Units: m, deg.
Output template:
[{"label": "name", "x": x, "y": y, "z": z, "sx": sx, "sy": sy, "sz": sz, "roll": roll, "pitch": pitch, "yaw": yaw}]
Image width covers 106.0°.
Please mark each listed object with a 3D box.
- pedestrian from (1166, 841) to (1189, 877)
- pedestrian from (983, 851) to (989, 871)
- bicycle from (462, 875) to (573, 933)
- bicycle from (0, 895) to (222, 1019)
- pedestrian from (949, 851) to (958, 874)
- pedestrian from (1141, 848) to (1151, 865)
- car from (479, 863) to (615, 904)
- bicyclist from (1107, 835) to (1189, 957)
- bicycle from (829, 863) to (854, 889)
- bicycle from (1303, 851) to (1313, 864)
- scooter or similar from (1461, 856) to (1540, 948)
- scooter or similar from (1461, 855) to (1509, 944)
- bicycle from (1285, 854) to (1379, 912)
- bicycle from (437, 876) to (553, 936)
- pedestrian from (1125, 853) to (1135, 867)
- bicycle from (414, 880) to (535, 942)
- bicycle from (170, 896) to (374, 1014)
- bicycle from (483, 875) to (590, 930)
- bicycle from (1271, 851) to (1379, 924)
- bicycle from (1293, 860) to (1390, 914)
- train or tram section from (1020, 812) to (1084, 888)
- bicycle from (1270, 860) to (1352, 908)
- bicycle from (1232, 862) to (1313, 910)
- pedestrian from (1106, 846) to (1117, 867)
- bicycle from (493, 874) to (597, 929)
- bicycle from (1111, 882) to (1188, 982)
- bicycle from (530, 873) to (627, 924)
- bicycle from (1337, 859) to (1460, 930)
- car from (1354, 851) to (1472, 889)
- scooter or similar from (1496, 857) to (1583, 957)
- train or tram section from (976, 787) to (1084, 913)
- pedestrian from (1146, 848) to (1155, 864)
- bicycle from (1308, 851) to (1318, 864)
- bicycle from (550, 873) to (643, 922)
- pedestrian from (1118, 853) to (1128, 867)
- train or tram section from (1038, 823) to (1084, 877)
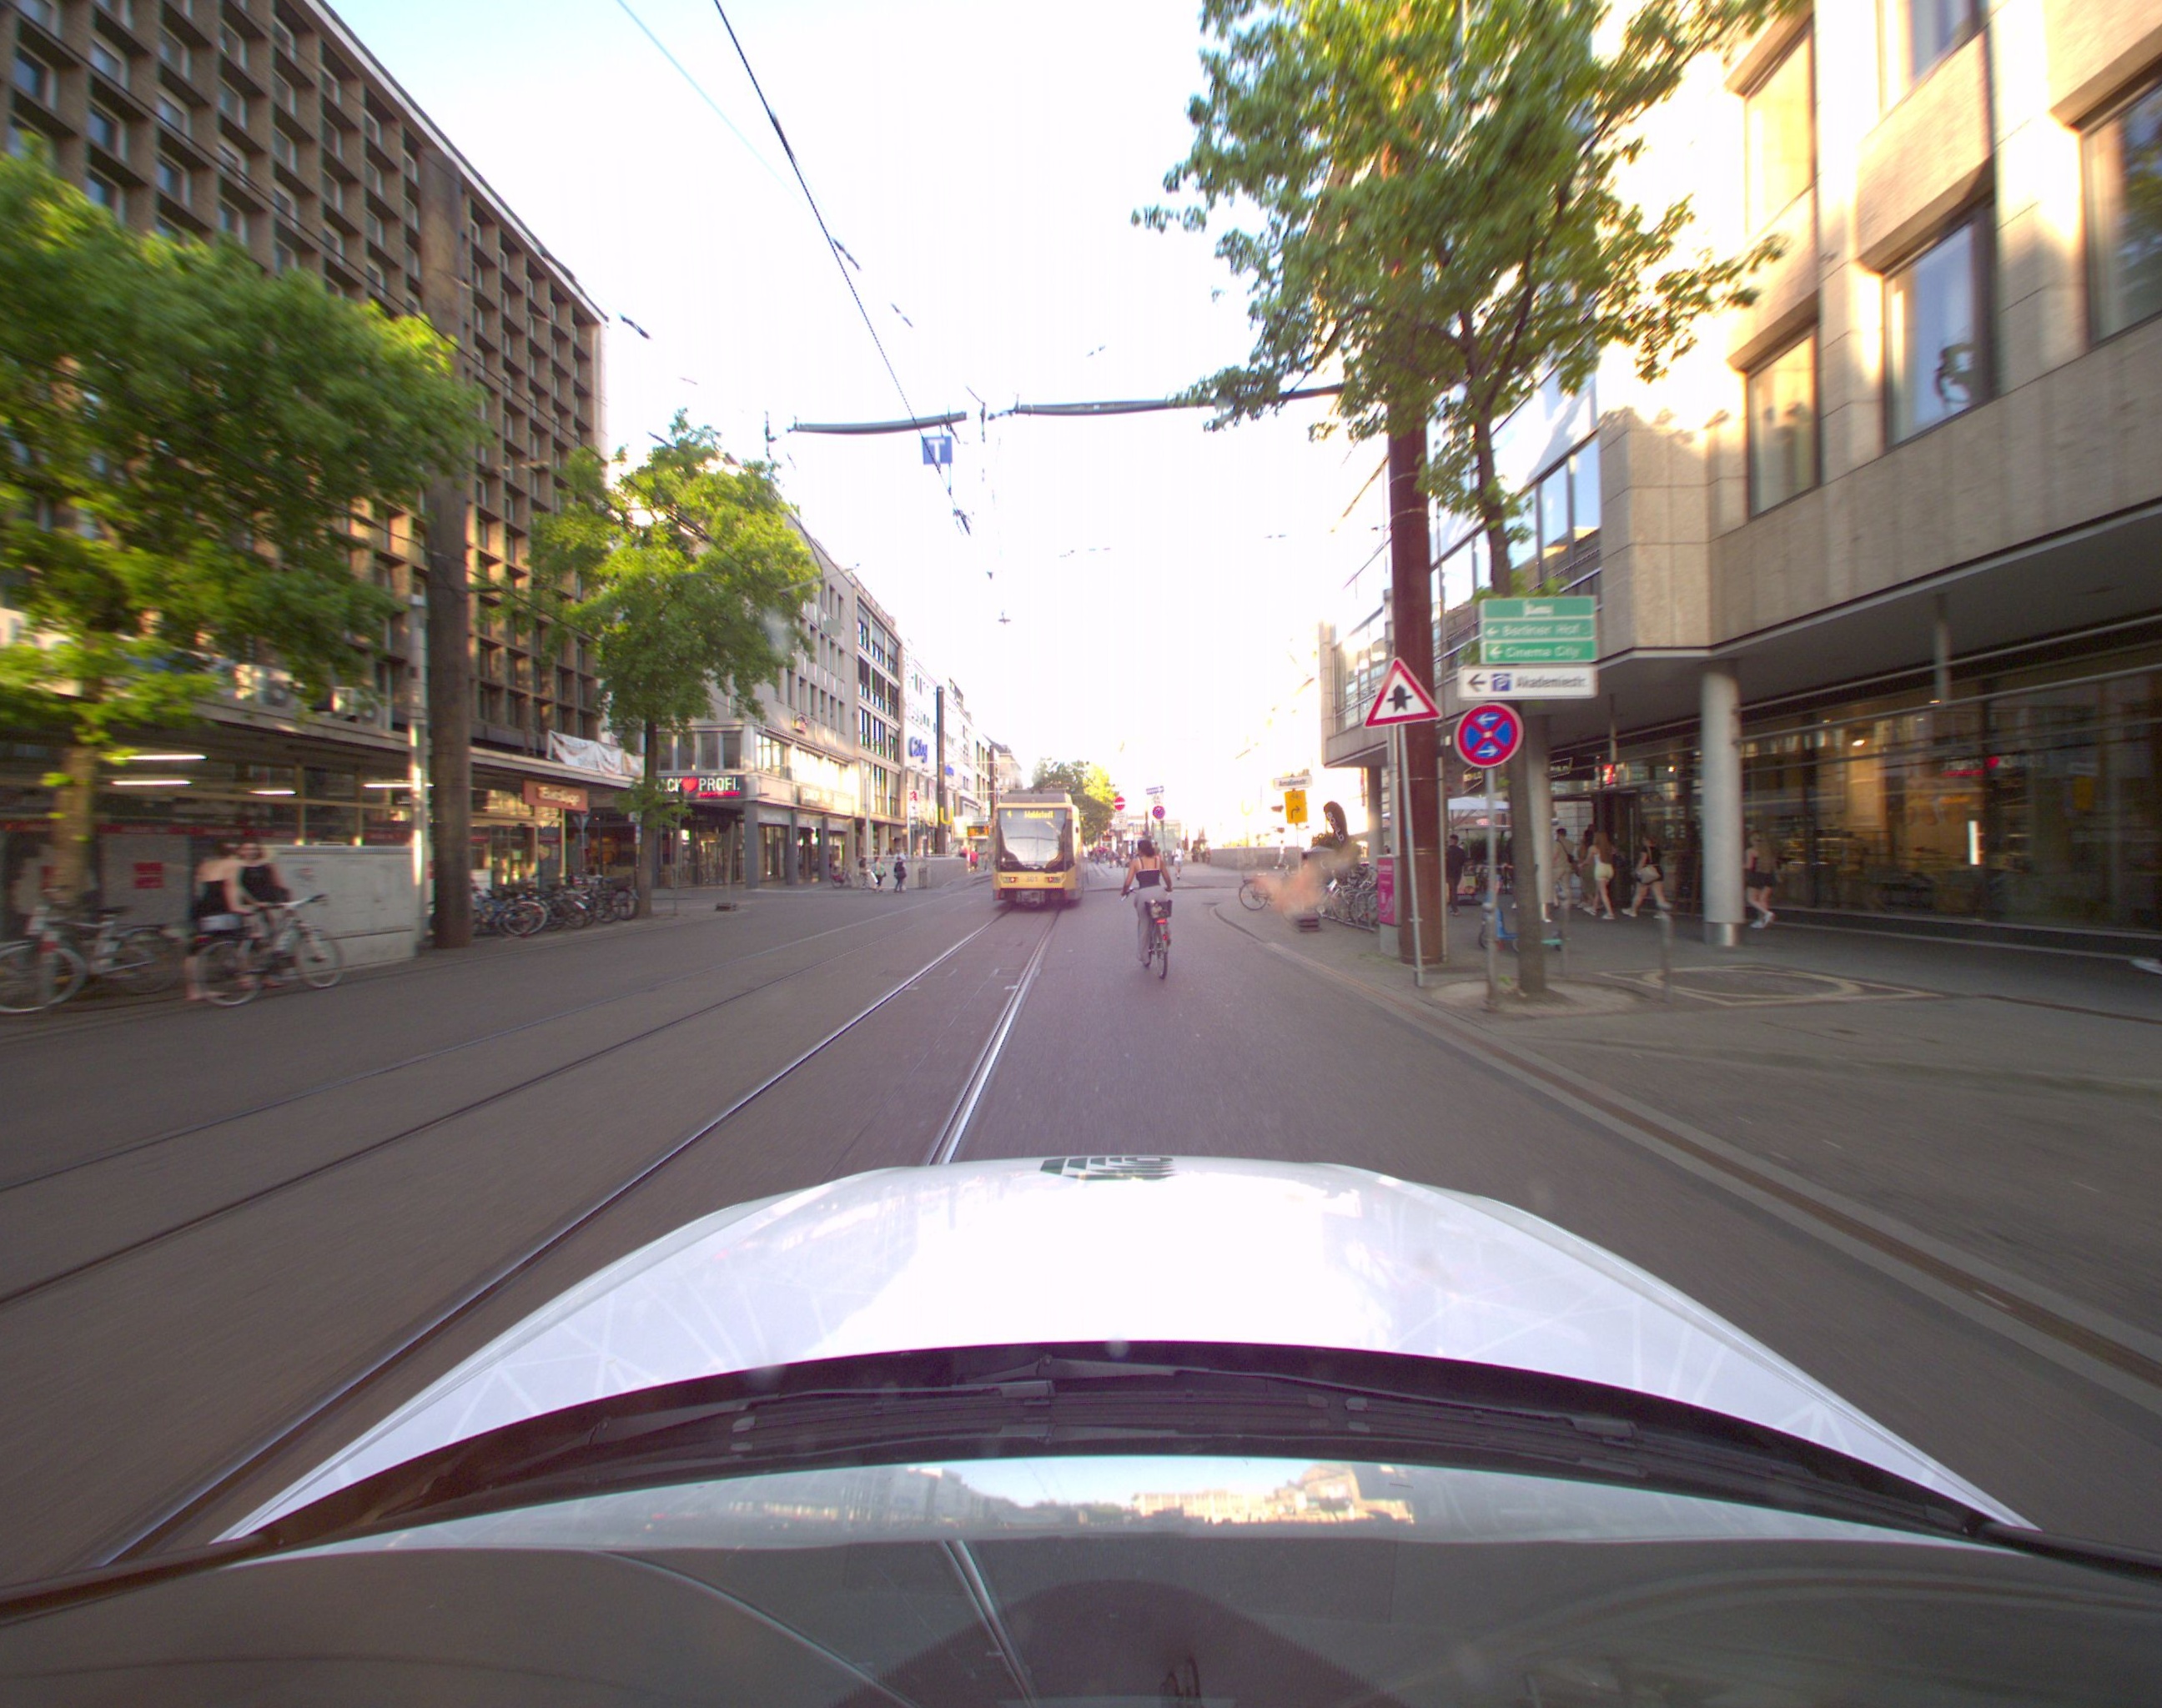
[{"label": "pedestrian", "x": 4.951, "y": 0.258, "z": 41.839, "sx": 1.012, "sy": 1.863, "sz": 1.041, "roll": 0, "pitch": -1, "yaw": -4}, {"label": "pedestrian", "x": -7.691, "y": 0.572, "z": 65.904, "sx": 0.511, "sy": 1.617, "sz": 0.504, "roll": -1, "pitch": -1, "yaw": -9}, {"label": "bicycle", "x": -10.750, "y": 0.946, "z": 15.551, "sx": 1.766, "sy": 1.045, "sz": 0.489, "roll": 1, "pitch": 0, "yaw": 0}, {"label": "bicycle", "x": -10.061, "y": 1.001, "z": 8.432, "sx": 0.486, "sy": 1.045, "sz": 1.776, "roll": 0, "pitch": 1, "yaw": -2}, {"label": "pedestrian", "x": -8.802, "y": 0.583, "z": 56.278, "sx": 0.603, "sy": 1.588, "sz": 0.626, "roll": -1, "pitch": -1, "yaw": -9}, {"label": "pedestrian", "x": 6.510, "y": 0.225, "z": 81.603, "sx": 0.787, "sy": 1.661, "sz": 0.772, "roll": -1, "pitch": 0, "yaw": 12}, {"label": "car", "x": -21.143, "y": 1.151, "z": 32.370, "sx": 4.110, "sy": 1.510, "sz": 1.798, "roll": -1, "pitch": -1, "yaw": -3}, {"label": "bicyclist", "x": 0.843, "y": 0.523, "z": 10.543, "sx": 0.993, "sy": 1.502, "sz": 0.857, "roll": 0, "pitch": 0, "yaw": 0}, {"label": "bicycle", "x": -11.518, "y": 1.045, "z": 39.186, "sx": 0.496, "sy": 1.107, "sz": 1.803, "roll": -1, "pitch": 1, "yaw": 6}, {"label": "bicycle", "x": 14.737, "y": 0.225, "z": 52.878, "sx": 0.314, "sy": 0.867, "sz": 1.000, "roll": -2, "pitch": 0, "yaw": -1}, {"label": "scooter or similar", "x": 6.126, "y": 0.675, "z": 11.879, "sx": 1.194, "sy": 1.251, "sz": 0.389, "roll": -2, "pitch": 1, "yaw": -29}, {"label": "scooter or similar", "x": 6.198, "y": 0.668, "z": 12.468, "sx": 0.388, "sy": 1.251, "sz": 1.199, "roll": -2, "pitch": 1, "yaw": 39}, {"label": "bicycle", "x": 5.893, "y": 0.661, "z": 19.180, "sx": 1.911, "sy": 1.222, "sz": 0.762, "roll": -3, "pitch": 0, "yaw": -5}, {"label": "bicycle", "x": -10.758, "y": 0.943, "z": 14.980, "sx": 1.766, "sy": 1.045, "sz": 0.489, "roll": 1, "pitch": 0, "yaw": 0}, {"label": "pedestrian", "x": 4.427, "y": 0.508, "z": 73.356, "sx": 0.790, "sy": 1.221, "sz": 0.768, "roll": -1, "pitch": 0, "yaw": -3}, {"label": "bicycle", "x": -10.769, "y": 1.004, "z": 14.489, "sx": 1.766, "sy": 1.045, "sz": 0.489, "roll": 1, "pitch": 0, "yaw": 0}, {"label": "bicycle", "x": -8.702, "y": 1.033, "z": 8.876, "sx": 0.486, "sy": 1.045, "sz": 1.776, "roll": 0, "pitch": 1, "yaw": -2}, {"label": "bicycle", "x": -10.766, "y": 0.948, "z": 16.130, "sx": 1.766, "sy": 1.045, "sz": 0.489, "roll": 1, "pitch": 0, "yaw": 0}, {"label": "bicycle", "x": 4.910, "y": 0.660, "z": 16.441, "sx": 1.911, "sy": 1.333, "sz": 0.724, "roll": -3, "pitch": 0, "yaw": -5}, {"label": "bicycle", "x": 5.882, "y": 0.734, "z": 18.433, "sx": 1.911, "sy": 1.077, "sz": 0.762, "roll": -3, "pitch": 0, "yaw": -5}, {"label": "train or tram section", "x": -1.267, "y": -0.202, "z": 43.477, "sx": 2.791, "sy": 3.319, "sz": 14.507, "roll": -1, "pitch": 0, "yaw": 0}, {"label": "bicycle", "x": 5.841, "y": 0.759, "z": 20.723, "sx": 1.848, "sy": 1.109, "sz": 0.666, "roll": -3, "pitch": 0, "yaw": -3}, {"label": "bicycle", "x": 4.825, "y": 0.801, "z": 20.580, "sx": 1.848, "sy": 1.109, "sz": 0.666, "roll": -3, "pitch": 0, "yaw": -3}, {"label": "pedestrian", "x": 2.671, "y": 0.212, "z": 70.444, "sx": 0.734, "sy": 1.823, "sz": 0.816, "roll": -1, "pitch": 0, "yaw": -14}, {"label": "bicycle", "x": -10.760, "y": 0.949, "z": 16.372, "sx": 1.766, "sy": 1.045, "sz": 0.489, "roll": 1, "pitch": 0, "yaw": 0}, {"label": "bicycle", "x": 0.837, "y": 0.949, "z": 10.551, "sx": 0.812, "sy": 1.073, "sz": 2.113, "roll": 0, "pitch": 0, "yaw": 0}, {"label": "bicycle", "x": -10.748, "y": 0.954, "z": 17.433, "sx": 1.766, "sy": 1.045, "sz": 0.489, "roll": 1, "pitch": 0, "yaw": 0}, {"label": "bicycle", "x": 5.909, "y": 0.736, "z": 15.218, "sx": 1.992, "sy": 1.155, "sz": 0.724, "roll": -3, "pitch": 0, "yaw": -5}, {"label": "car", "x": 13.264, "y": 0.641, "z": 32.702, "sx": 4.027, "sy": 1.409, "sz": 1.775, "roll": -1, "pitch": -1, "yaw": -1}, {"label": "scooter or similar", "x": 6.216, "y": 0.689, "z": 11.030, "sx": 1.119, "sy": 1.251, "sz": 0.492, "roll": -2, "pitch": 1, "yaw": -30}, {"label": "train or tram section", "x": -1.342, "y": -0.141, "z": 28.948, "sx": 2.791, "sy": 3.319, "sz": 14.507, "roll": -1, "pitch": 0, "yaw": 0}, {"label": "pedestrian", "x": 7.282, "y": 0.236, "z": 85.216, "sx": 0.787, "sy": 1.661, "sz": 0.772, "roll": -1, "pitch": 0, "yaw": 12}, {"label": "bicycle", "x": 15.062, "y": 0.223, "z": 52.881, "sx": 0.314, "sy": 0.867, "sz": 1.000, "roll": -2, "pitch": 0, "yaw": -1}, {"label": "bicycle", "x": -10.705, "y": 0.957, "z": 18.014, "sx": 1.766, "sy": 1.045, "sz": 0.489, "roll": 1, "pitch": 0, "yaw": 0}, {"label": "pedestrian", "x": 3.834, "y": 0.516, "z": 74.159, "sx": 0.790, "sy": 1.221, "sz": 0.768, "roll": -1, "pitch": 0, "yaw": -3}, {"label": "train or tram section", "x": -1.199, "y": -0.263, "z": 57.997, "sx": 2.791, "sy": 3.319, "sz": 14.507, "roll": -1, "pitch": 0, "yaw": 0}]
